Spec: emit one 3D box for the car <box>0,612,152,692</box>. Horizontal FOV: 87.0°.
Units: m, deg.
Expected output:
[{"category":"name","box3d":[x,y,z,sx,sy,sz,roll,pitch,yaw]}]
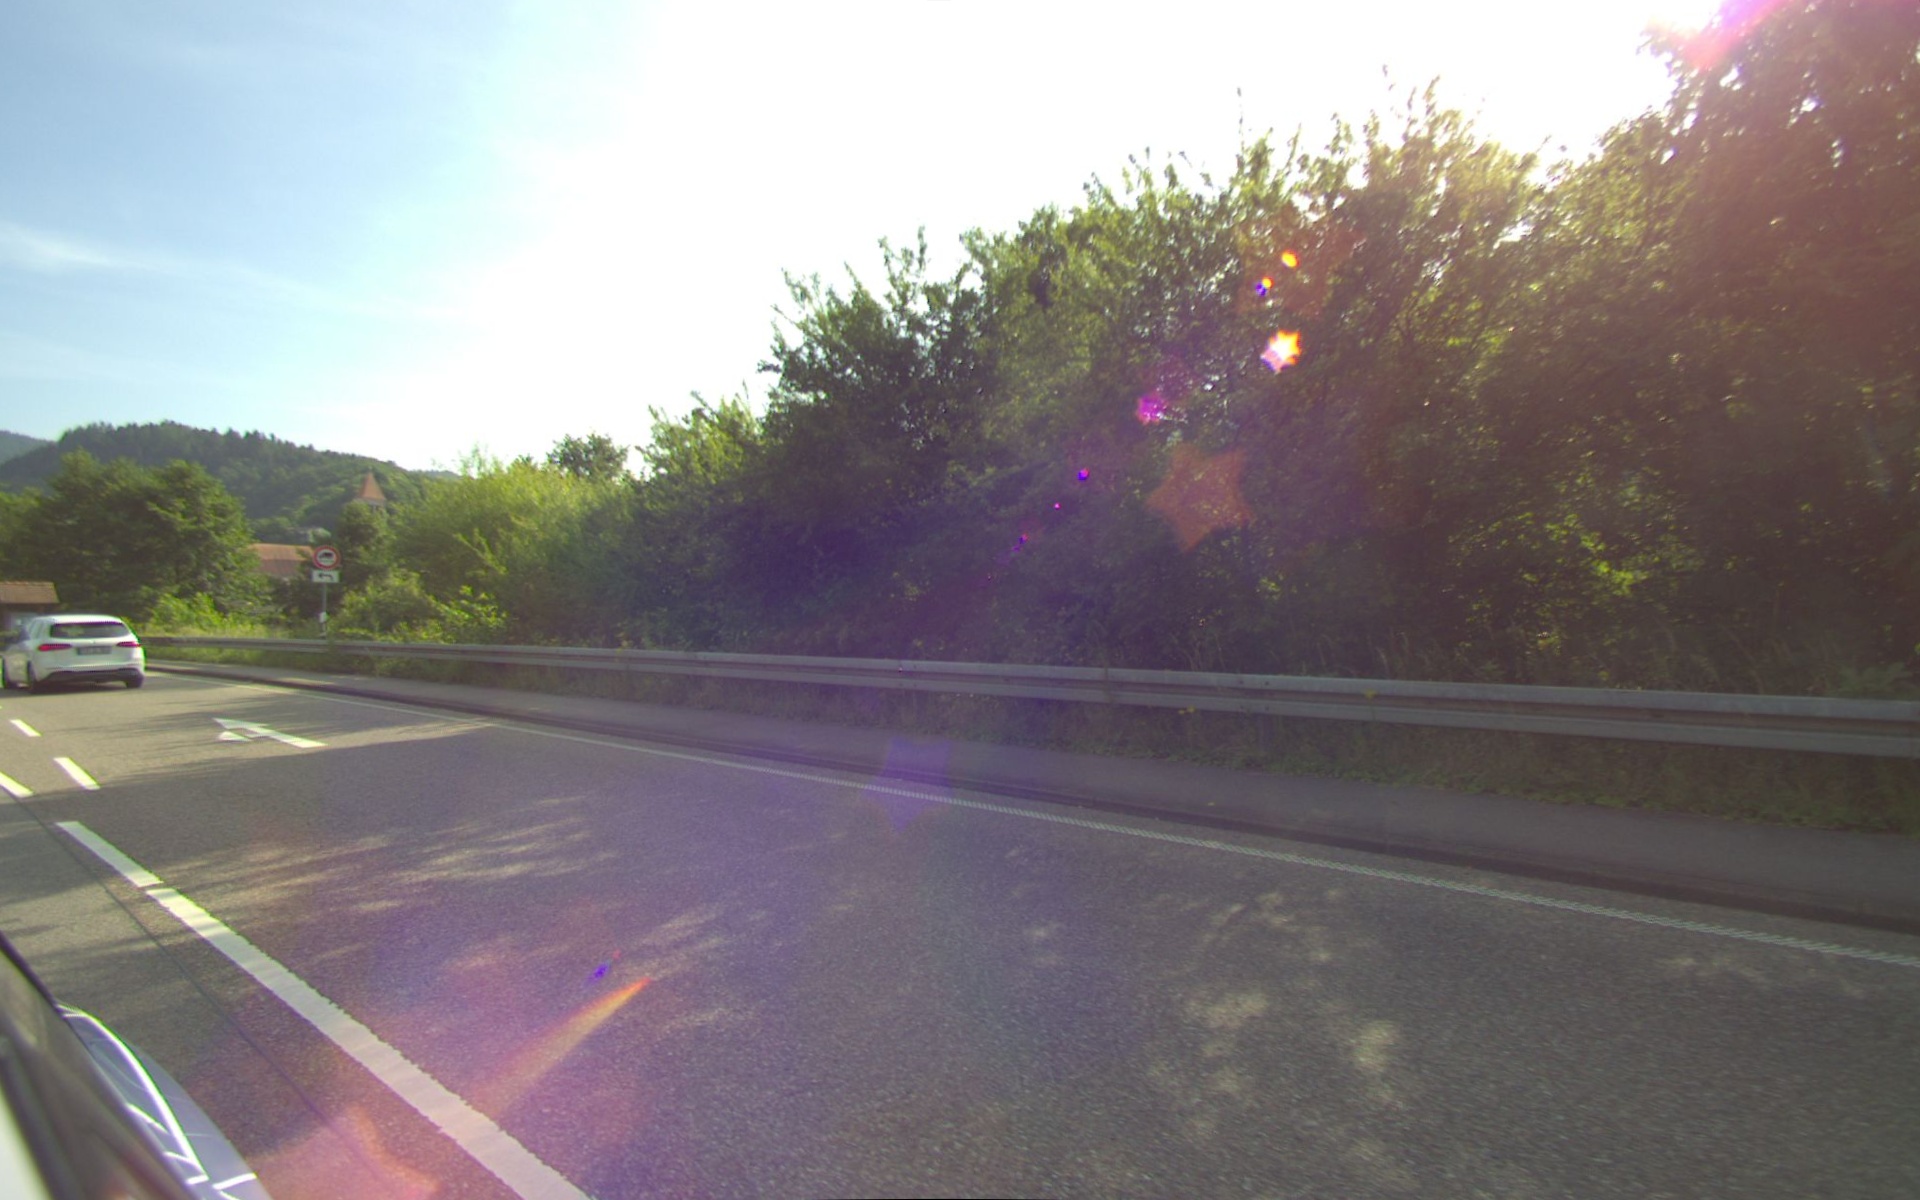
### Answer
[{"category":"car","box3d":[-18.858,1.042,21.372,4.581,1.498,1.925,-2,-1,40]}]
